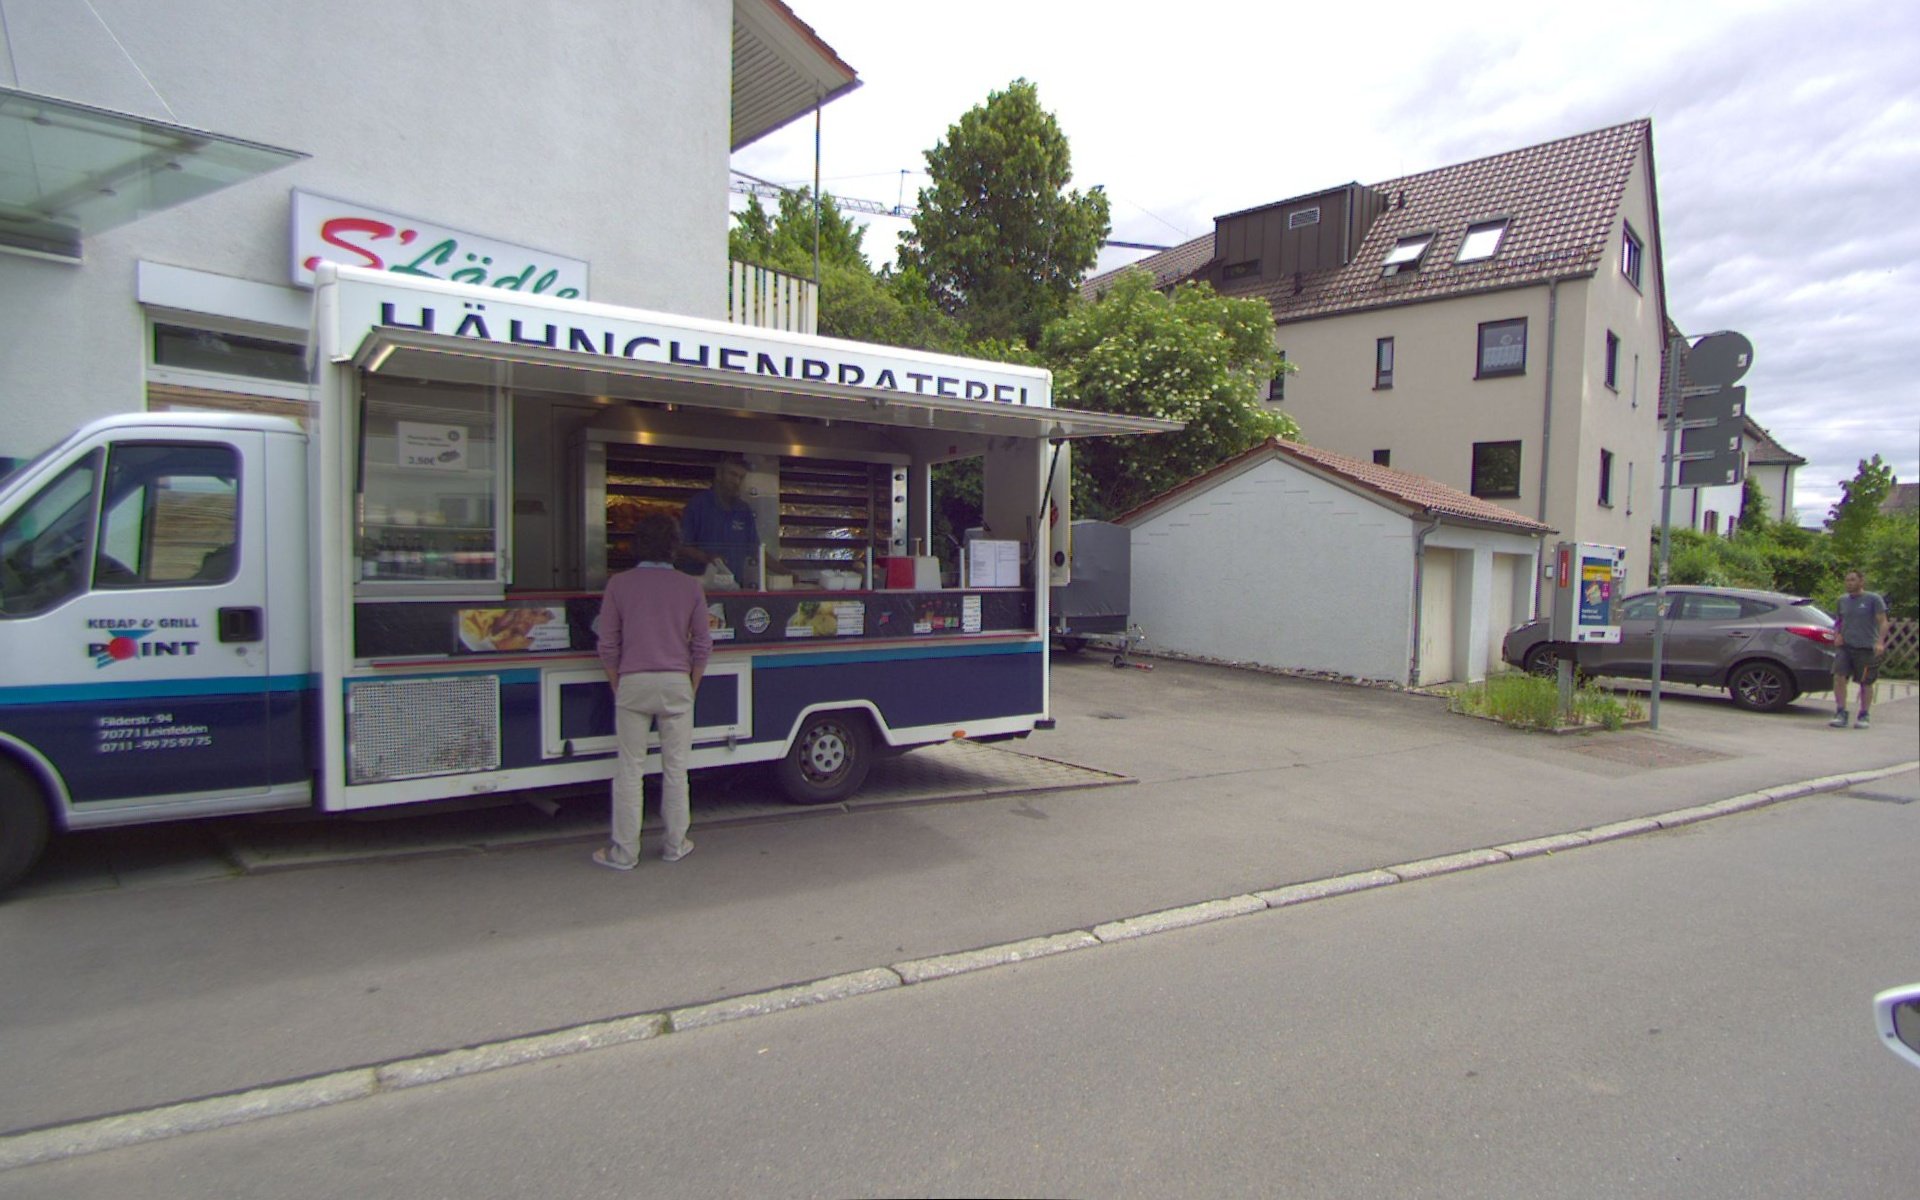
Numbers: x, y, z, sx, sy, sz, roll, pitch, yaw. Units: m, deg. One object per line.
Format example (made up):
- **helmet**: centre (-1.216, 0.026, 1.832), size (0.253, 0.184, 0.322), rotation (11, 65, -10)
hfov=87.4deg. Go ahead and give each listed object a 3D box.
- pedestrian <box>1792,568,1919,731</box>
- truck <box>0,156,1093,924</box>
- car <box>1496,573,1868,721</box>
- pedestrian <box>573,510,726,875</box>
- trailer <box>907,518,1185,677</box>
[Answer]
- **pedestrian**: centre (11.481, 0.610, 12.874), size (1.203, 1.972, 0.729), rotation (1, 4, -29)
- **truck**: centre (-2.554, -0.227, 5.988), size (6.639, 2.879, 2.457), rotation (1, 2, -35)
- **car**: centre (10.847, 0.583, 15.354), size (1.785, 1.718, 4.270), rotation (0, 4, -43)
- **pedestrian**: centre (-1.556, 0.430, 5.025), size (0.591, 1.718, 0.398), rotation (1, 4, -34)
- **trailer**: centre (1.154, -0.201, 16.008), size (1.686, 2.109, 4.829), rotation (-1, 5, -35)
